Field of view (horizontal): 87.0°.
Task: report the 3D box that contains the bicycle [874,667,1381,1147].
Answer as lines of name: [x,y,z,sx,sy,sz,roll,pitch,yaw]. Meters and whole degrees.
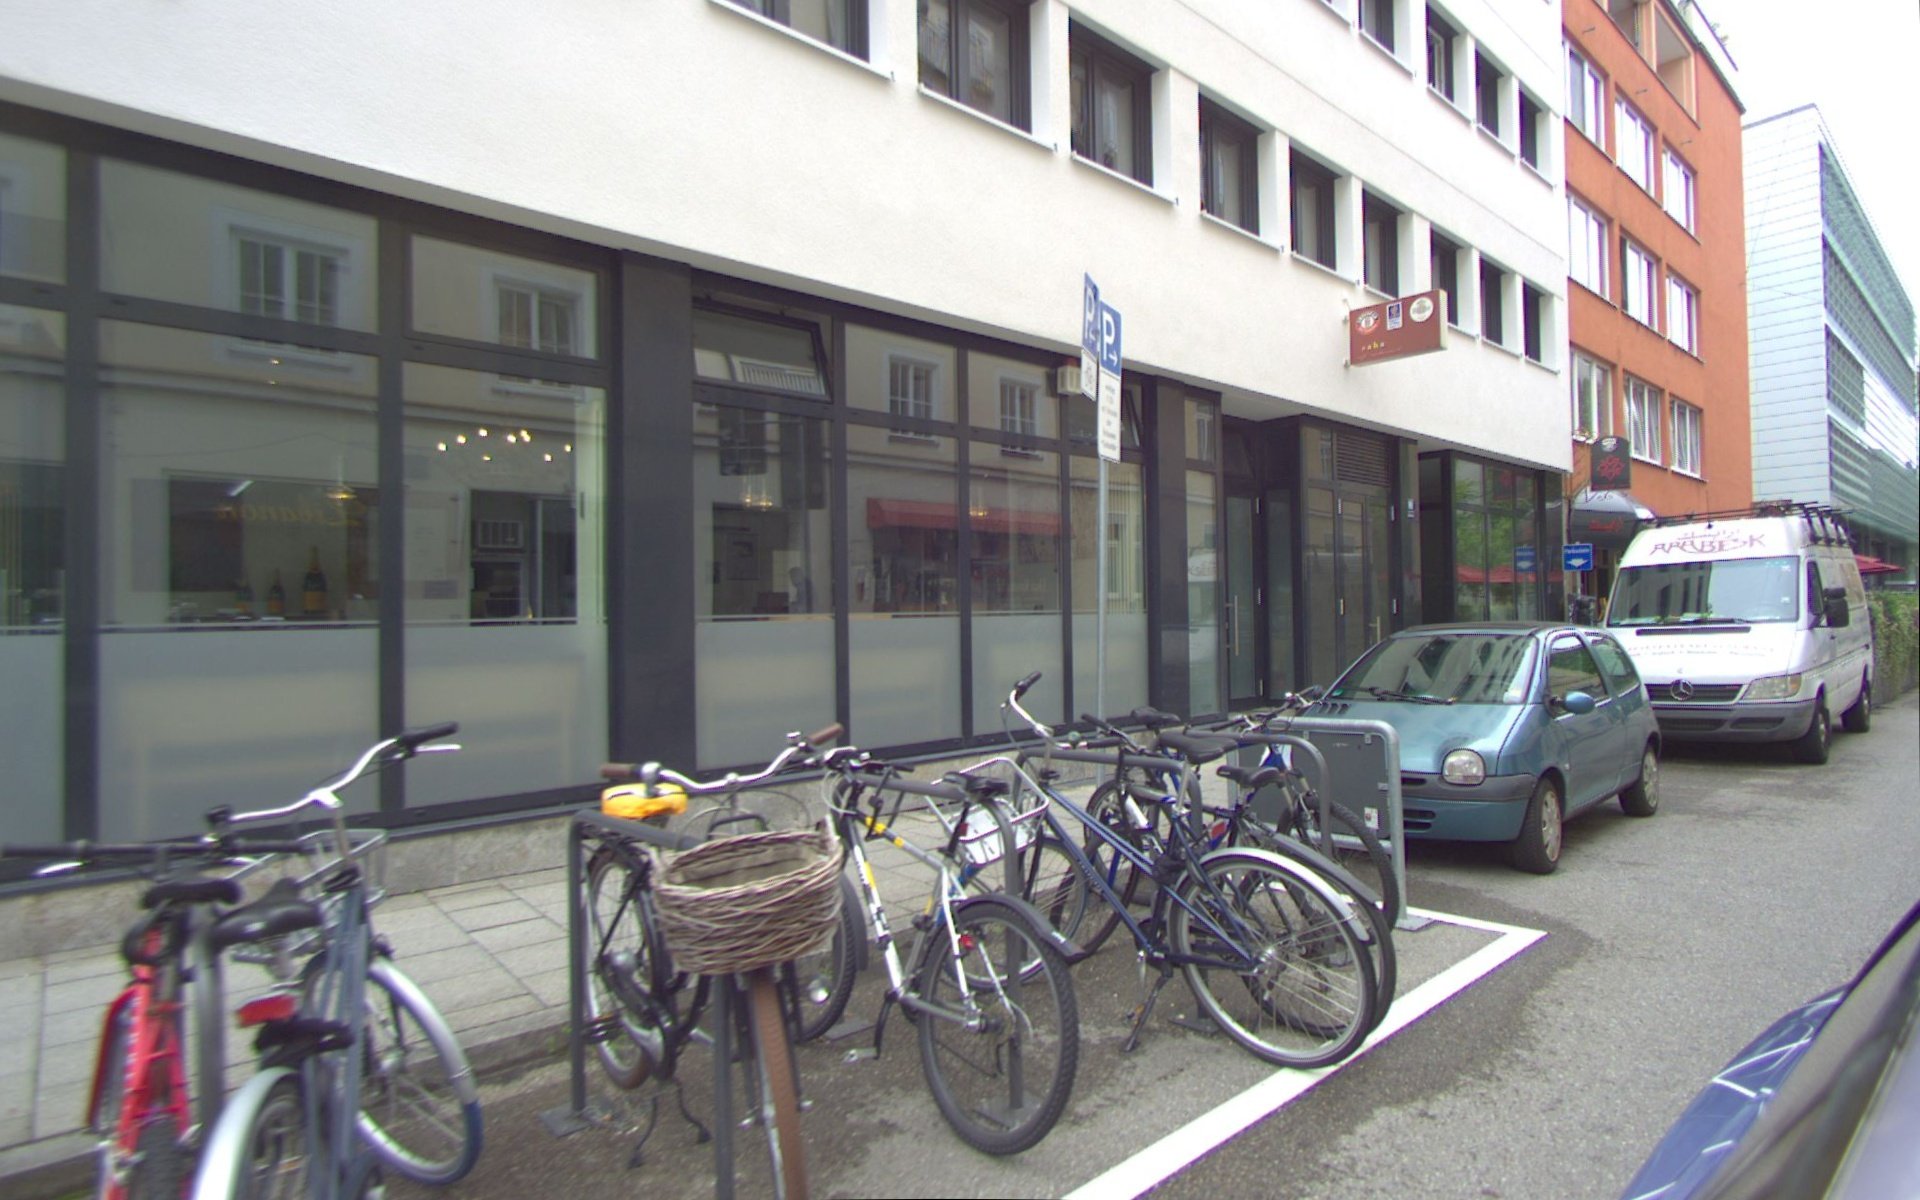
bicycle: [0.460,0.883,3.597,0.480,1.220,1.875,2,-3,-43]

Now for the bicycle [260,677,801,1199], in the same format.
bicycle: [-1.145,0.833,2.387,0.556,1.185,1.895,1,-1,-43]

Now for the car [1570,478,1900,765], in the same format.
car: [9.123,0.223,11.654,5.894,2.539,1.922,0,-3,-43]

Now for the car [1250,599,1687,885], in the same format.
car: [3.668,0.749,7.047,3.492,1.483,1.581,0,-1,-43]

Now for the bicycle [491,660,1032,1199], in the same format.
bicycle: [-0.678,0.827,2.791,0.570,1.219,1.875,1,-1,-43]

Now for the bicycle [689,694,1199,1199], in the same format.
bicycle: [-0.185,0.928,3.320,0.555,1.172,1.875,2,-4,-43]

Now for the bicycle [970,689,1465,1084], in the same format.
bicycle: [0.860,0.936,3.915,0.480,1.123,1.875,2,-4,-43]

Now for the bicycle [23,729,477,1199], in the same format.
bicycle: [-1.518,0.895,2.002,0.432,1.109,1.874,2,-3,-44]

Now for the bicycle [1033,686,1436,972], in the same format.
bicycle: [1.211,0.977,4.874,0.480,1.094,1.875,2,-5,-43]

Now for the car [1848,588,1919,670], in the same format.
car: [21.823,0.606,22.975,4.311,1.732,1.827,0,-2,-40]
